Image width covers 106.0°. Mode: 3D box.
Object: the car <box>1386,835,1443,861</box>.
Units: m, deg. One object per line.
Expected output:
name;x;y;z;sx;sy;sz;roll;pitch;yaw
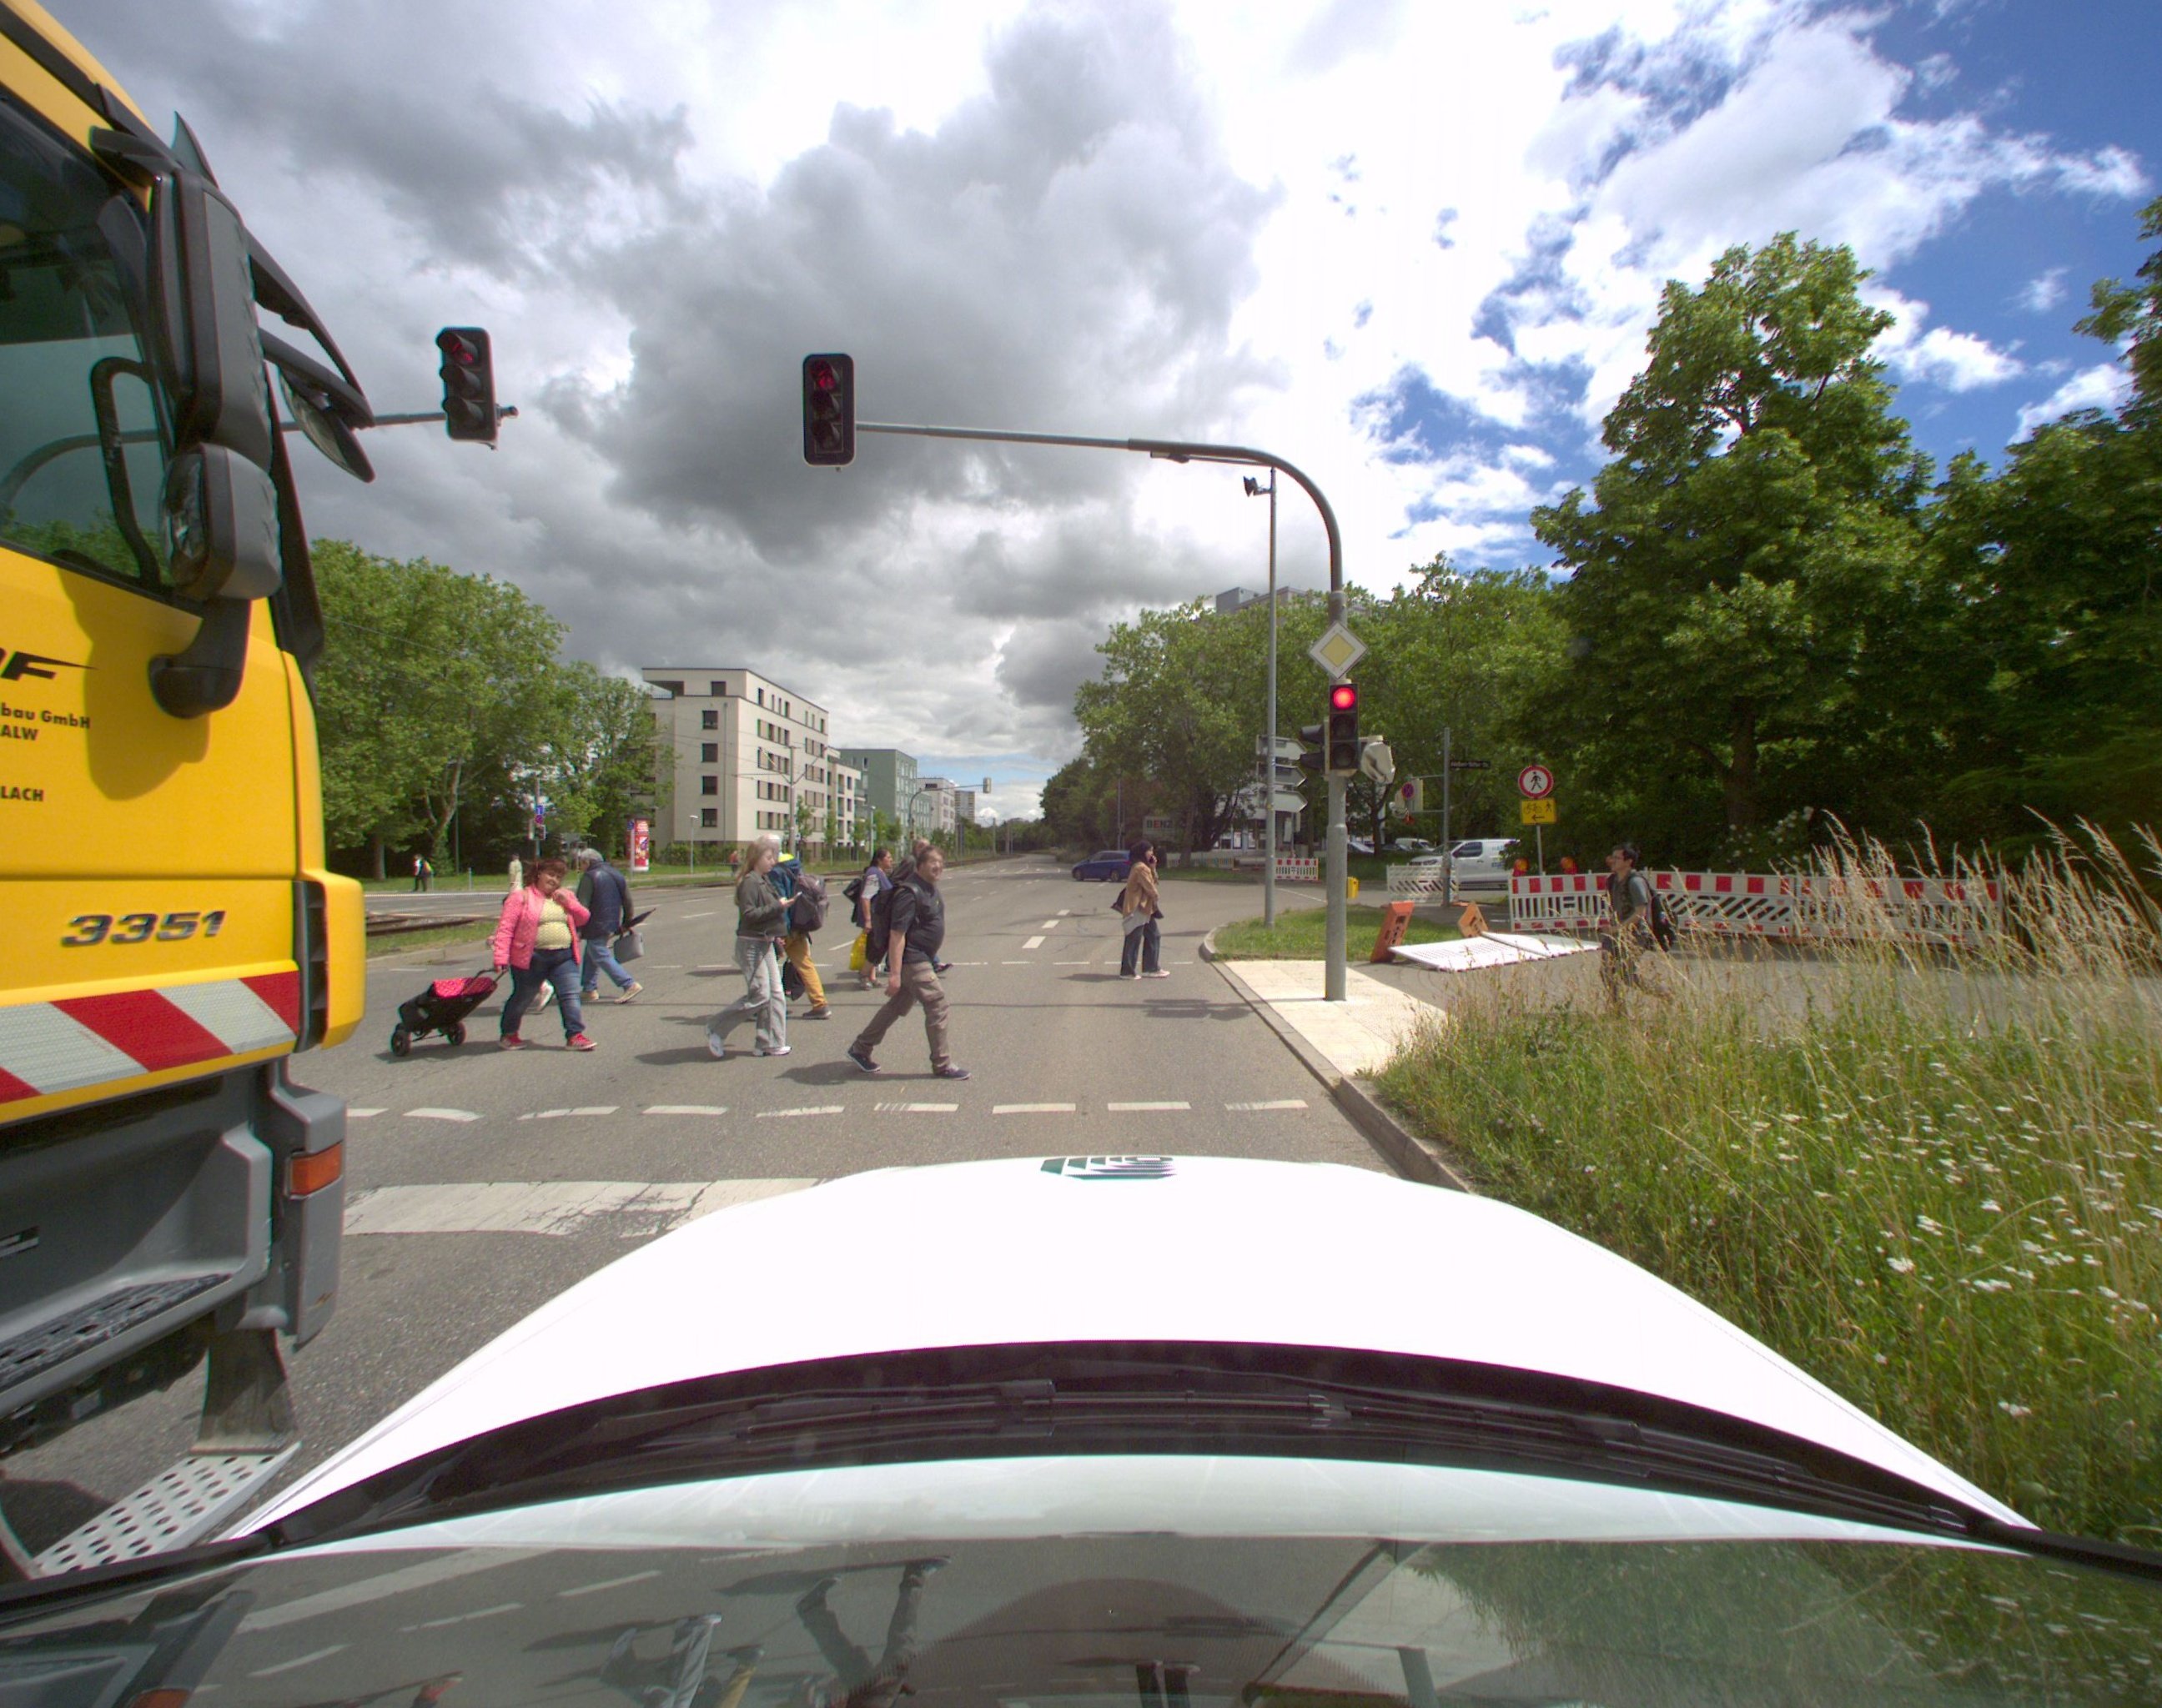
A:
car;27.316;-0.501;66.861;2.006;2.013;3.962;-1;0;-29

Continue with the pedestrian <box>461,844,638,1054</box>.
pedestrian;-4.155;0.705;6.430;0.877;1.554;0.747;-1;0;2

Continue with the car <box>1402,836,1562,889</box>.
car;14.912;0.300;30.453;5.063;1.874;1.947;-1;0;-2

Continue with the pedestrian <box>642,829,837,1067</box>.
pedestrian;-2.518;0.654;6.131;1.016;1.648;0.930;-1;0;3

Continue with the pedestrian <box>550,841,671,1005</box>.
pedestrian;-4.939;0.688;8.612;0.868;1.634;0.763;-1;0;-9

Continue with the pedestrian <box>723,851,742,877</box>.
pedestrian;-20.723;0.599;48.400;0.827;1.516;0.636;-1;0;1

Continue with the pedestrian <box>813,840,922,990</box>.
pedestrian;-2.380;0.651;9.205;0.908;1.607;0.931;-1;0;5

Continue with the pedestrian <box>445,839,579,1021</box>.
pedestrian;-5.434;0.687;7.828;0.823;1.640;0.730;-1;0;-14

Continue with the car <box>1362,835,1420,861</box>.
car;24.601;-0.497;64.728;2.006;2.013;3.962;-1;0;-29

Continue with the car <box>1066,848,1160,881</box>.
car;1.456;0.477;38.617;1.999;1.486;4.437;-1;0;-41

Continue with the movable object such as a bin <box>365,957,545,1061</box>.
movable object such as a bin;-4.906;1.201;6.437;0.792;0.662;0.778;-1;0;2

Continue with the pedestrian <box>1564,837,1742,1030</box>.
pedestrian;4.905;0.637;7.043;0.944;1.552;0.842;-1;0;-4

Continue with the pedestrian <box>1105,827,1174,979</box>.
pedestrian;0.688;0.565;9.779;0.779;1.742;0.829;-1;0;2

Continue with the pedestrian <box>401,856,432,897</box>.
pedestrian;-28.355;0.936;34.772;0.930;1.676;1.089;-1;0;-35

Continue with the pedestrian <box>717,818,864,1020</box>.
pedestrian;-2.700;0.573;7.684;1.006;1.774;0.949;-1;0;1

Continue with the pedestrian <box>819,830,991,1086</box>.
pedestrian;-1.189;0.670;5.698;0.955;1.648;0.881;-1;0;3

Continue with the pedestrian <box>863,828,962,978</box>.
pedestrian;-2.070;0.586;10.149;0.999;1.773;0.929;-1;0;1

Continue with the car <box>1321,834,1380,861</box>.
car;20.570;-0.489;62.247;2.006;2.013;3.962;-1;0;-29

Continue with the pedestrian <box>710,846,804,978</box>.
pedestrian;-4.124;0.702;10.441;0.892;1.596;0.906;-1;0;-7
